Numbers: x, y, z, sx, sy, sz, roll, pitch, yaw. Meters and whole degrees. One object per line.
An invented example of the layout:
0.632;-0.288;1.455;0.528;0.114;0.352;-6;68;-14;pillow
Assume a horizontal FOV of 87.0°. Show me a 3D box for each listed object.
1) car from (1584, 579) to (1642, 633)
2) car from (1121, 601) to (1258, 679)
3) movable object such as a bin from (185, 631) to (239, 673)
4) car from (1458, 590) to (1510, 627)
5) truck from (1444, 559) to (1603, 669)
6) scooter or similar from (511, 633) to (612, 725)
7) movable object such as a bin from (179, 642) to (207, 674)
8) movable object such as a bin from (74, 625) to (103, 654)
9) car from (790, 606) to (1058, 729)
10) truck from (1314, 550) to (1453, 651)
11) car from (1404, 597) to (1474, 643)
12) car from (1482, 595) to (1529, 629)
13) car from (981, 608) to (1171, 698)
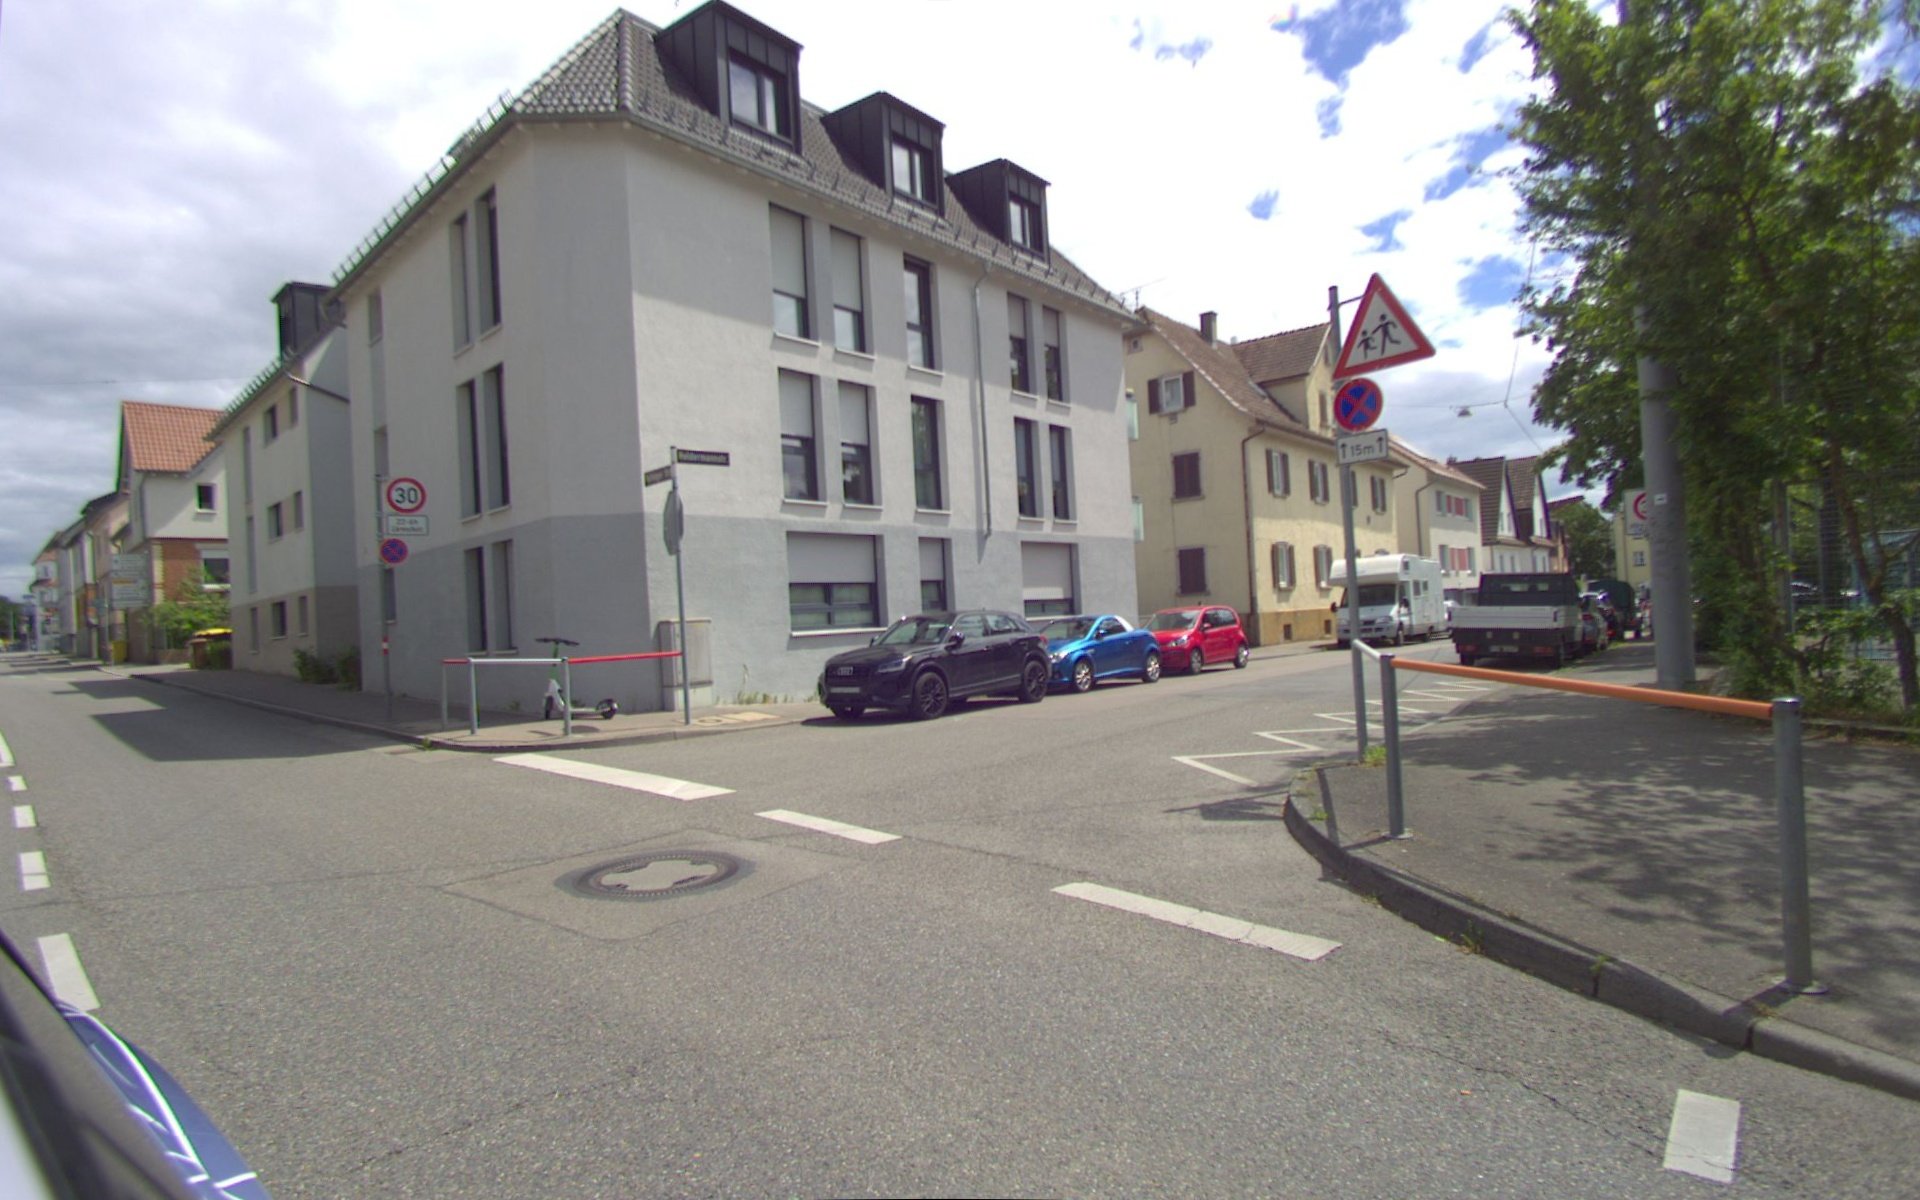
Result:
21.118;0.183;32.690;1.288;1.650;3.011;-2;-1;38;car
5.163;0.850;22.490;1.548;1.484;3.566;-6;-3;37;car
-27.764;1.907;37.571;1.170;1.457;1.321;-3;0;40;movable object such as a bin
24.388;0.376;47.064;1.473;1.653;3.396;-2;-1;38;car
12.114;0.252;21.582;2.142;2.050;4.986;-1;0;38;truck
-5.718;1.127;14.527;1.295;1.271;0.489;-2;-1;15;scooter or similar
-27.245;2.070;35.941;0.660;1.083;0.634;-3;0;41;movable object such as a bin
-40.933;1.855;47.553;0.801;1.169;0.758;2;9;37;movable object such as a bin
-0.417;0.943;15.241;1.856;1.488;3.948;-5;-2;38;car
14.649;0.009;34.677;2.500;2.948;7.278;-7;-3;36;truck
18.747;0.757;39.529;1.692;1.696;3.480;-2;-1;38;car
27.499;0.589;50.953;1.473;1.653;3.396;-2;-1;38;car
2.229;0.942;18.783;1.601;1.411;3.743;-5;-2;41;car
